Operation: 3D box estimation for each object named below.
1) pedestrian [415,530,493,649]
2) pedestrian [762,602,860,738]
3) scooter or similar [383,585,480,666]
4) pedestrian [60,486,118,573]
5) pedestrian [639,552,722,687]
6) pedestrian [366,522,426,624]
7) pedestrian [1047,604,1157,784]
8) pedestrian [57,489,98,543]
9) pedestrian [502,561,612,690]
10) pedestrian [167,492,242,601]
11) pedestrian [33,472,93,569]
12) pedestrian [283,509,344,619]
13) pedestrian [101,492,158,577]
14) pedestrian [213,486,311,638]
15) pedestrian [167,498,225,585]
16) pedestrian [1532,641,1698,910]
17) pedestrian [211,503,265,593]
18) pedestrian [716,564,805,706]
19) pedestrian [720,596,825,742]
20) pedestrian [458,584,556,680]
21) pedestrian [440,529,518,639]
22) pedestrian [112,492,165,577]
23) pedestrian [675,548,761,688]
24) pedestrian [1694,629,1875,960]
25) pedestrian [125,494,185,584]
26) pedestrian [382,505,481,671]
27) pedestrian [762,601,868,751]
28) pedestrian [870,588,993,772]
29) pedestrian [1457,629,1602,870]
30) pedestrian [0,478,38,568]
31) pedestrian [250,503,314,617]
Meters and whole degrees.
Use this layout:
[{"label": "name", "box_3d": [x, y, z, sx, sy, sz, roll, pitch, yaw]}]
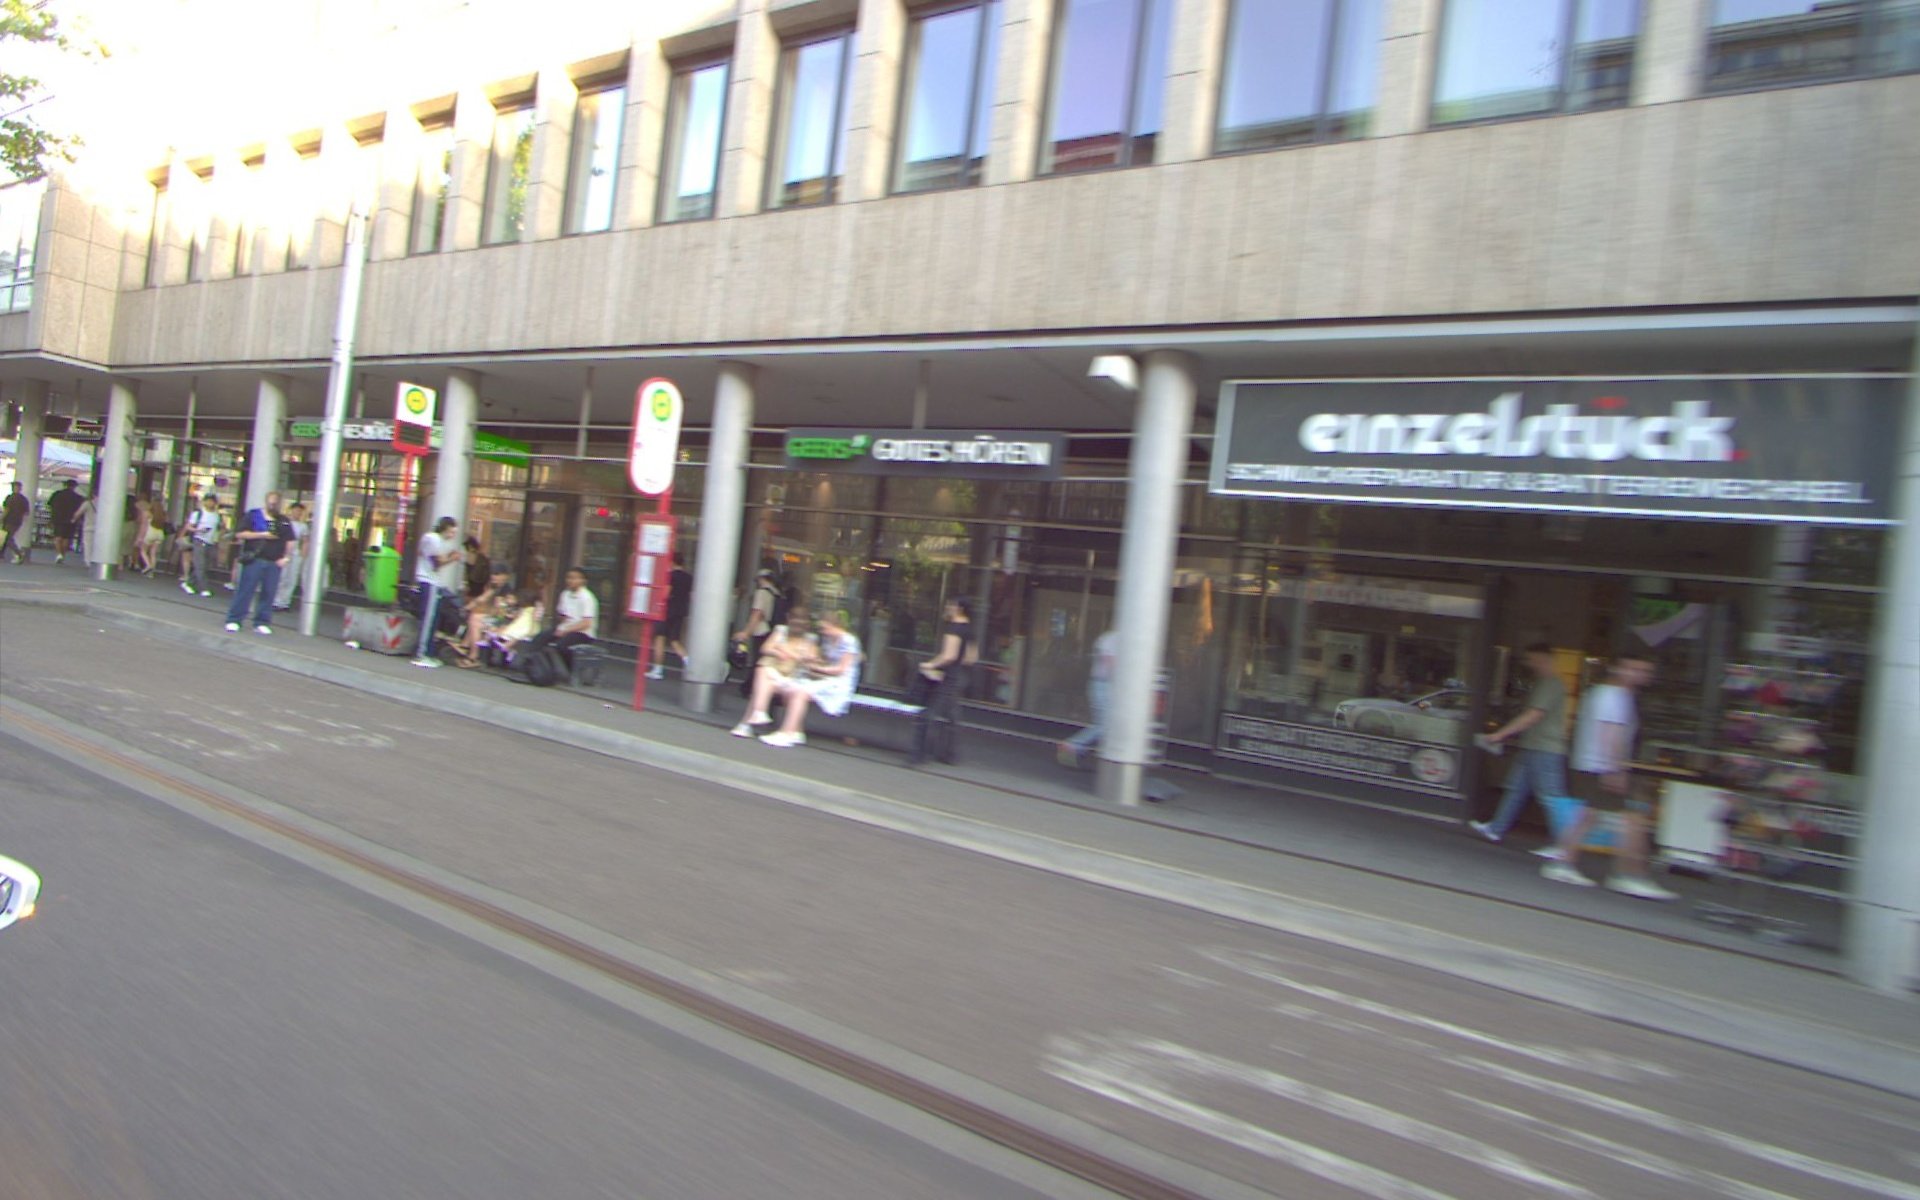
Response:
[{"label": "pedestrian", "box_3d": [-7.563, -0.153, 15.041, 0.639, 1.682, 0.649, 7, 1, 31]}, {"label": "pedestrian", "box_3d": [-1.558, 0.741, 10.577, 0.523, 1.330, 0.719, 7, -1, 32]}, {"label": "scooter or similar", "box_3d": [-6.731, 0.326, 12.814, 0.678, 0.894, 0.832, 6, -3, 44]}, {"label": "pedestrian", "box_3d": [-19.259, -1.549, 22.256, 0.707, 1.809, 0.663, 7, 1, 31]}, {"label": "pedestrian", "box_3d": [-3.878, 0.271, 13.969, 0.760, 1.775, 0.583, 7, 1, 29]}, {"label": "pedestrian", "box_3d": [-10.222, -0.488, 18.243, 0.607, 1.753, 0.571, 7, 1, 29]}, {"label": "pedestrian", "box_3d": [1.441, 0.928, 10.154, 0.710, 1.682, 0.688, 7, 1, 32]}, {"label": "pedestrian", "box_3d": [-32.518, -3.090, 37.067, 0.793, 1.846, 0.809, 8, 1, 35]}, {"label": "pedestrian", "box_3d": [-4.704, 0.309, 11.770, 0.651, 1.397, 0.814, 7, -1, 32]}, {"label": "pedestrian", "box_3d": [-13.746, -0.966, 18.305, 0.865, 1.862, 0.669, 7, 1, 30]}, {"label": "pedestrian", "box_3d": [-20.199, -1.785, 22.655, 0.769, 2.039, 0.687, 7, 1, 31]}, {"label": "pedestrian", "box_3d": [-11.241, -0.623, 17.493, 0.594, 1.829, 0.540, 7, 1, 29]}, {"label": "pedestrian", "box_3d": [-18.824, -1.471, 22.809, 0.707, 1.809, 0.663, 7, 1, 31]}, {"label": "pedestrian", "box_3d": [-9.068, -0.487, 13.072, 0.696, 1.862, 0.669, 7, 1, 30]}, {"label": "pedestrian", "box_3d": [-16.752, -1.279, 22.064, 0.707, 1.809, 0.663, 7, 1, 31]}, {"label": "pedestrian", "box_3d": [4.959, 1.281, 7.687, 0.844, 1.820, 0.845, 7, 1, 31]}, {"label": "pedestrian", "box_3d": [-14.948, -1.068, 20.830, 0.607, 1.753, 0.571, 7, 1, 29]}, {"label": "pedestrian", "box_3d": [-2.506, 0.437, 12.661, 0.669, 1.682, 0.648, 7, 1, 32]}, {"label": "pedestrian", "box_3d": [-1.831, 0.679, 9.880, 0.523, 1.330, 0.719, 7, -1, 32]}, {"label": "pedestrian", "box_3d": [-5.485, 0.401, 12.196, 0.535, 1.054, 0.814, 7, -1, 32]}, {"label": "pedestrian", "box_3d": [-8.331, -0.271, 17.444, 0.761, 1.794, 0.774, 7, 1, 29]}, {"label": "pedestrian", "box_3d": [-19.184, -1.531, 23.487, 0.708, 1.871, 0.663, 7, 1, 36]}, {"label": "pedestrian", "box_3d": [-3.484, 0.266, 14.510, 0.760, 1.906, 0.688, 7, 1, 29]}, {"label": "pedestrian", "box_3d": [5.337, 1.217, 6.559, 0.644, 1.968, 0.579, 7, 1, 30]}, {"label": "pedestrian", "box_3d": [-17.156, -1.301, 21.435, 0.707, 1.809, 0.663, 7, 1, 31]}, {"label": "pedestrian", "box_3d": [-6.256, -0.132, 11.918, 0.657, 1.862, 0.640, 7, 1, 31]}, {"label": "pedestrian", "box_3d": [-1.379, 0.729, 9.611, 0.516, 1.330, 0.719, 7, -1, 32]}, {"label": "pedestrian", "box_3d": [-0.259, 0.739, 9.502, 0.724, 1.589, 0.725, 7, 1, 32]}, {"label": "pedestrian", "box_3d": [5.029, 1.272, 8.900, 0.884, 1.913, 0.845, 7, 1, 31]}, {"label": "pedestrian", "box_3d": [-19.541, -1.589, 20.503, 0.908, 1.740, 0.764, 6, 1, 32]}, {"label": "pedestrian", "box_3d": [-11.456, -0.670, 16.996, 0.594, 1.829, 0.540, 7, 1, 29]}]
